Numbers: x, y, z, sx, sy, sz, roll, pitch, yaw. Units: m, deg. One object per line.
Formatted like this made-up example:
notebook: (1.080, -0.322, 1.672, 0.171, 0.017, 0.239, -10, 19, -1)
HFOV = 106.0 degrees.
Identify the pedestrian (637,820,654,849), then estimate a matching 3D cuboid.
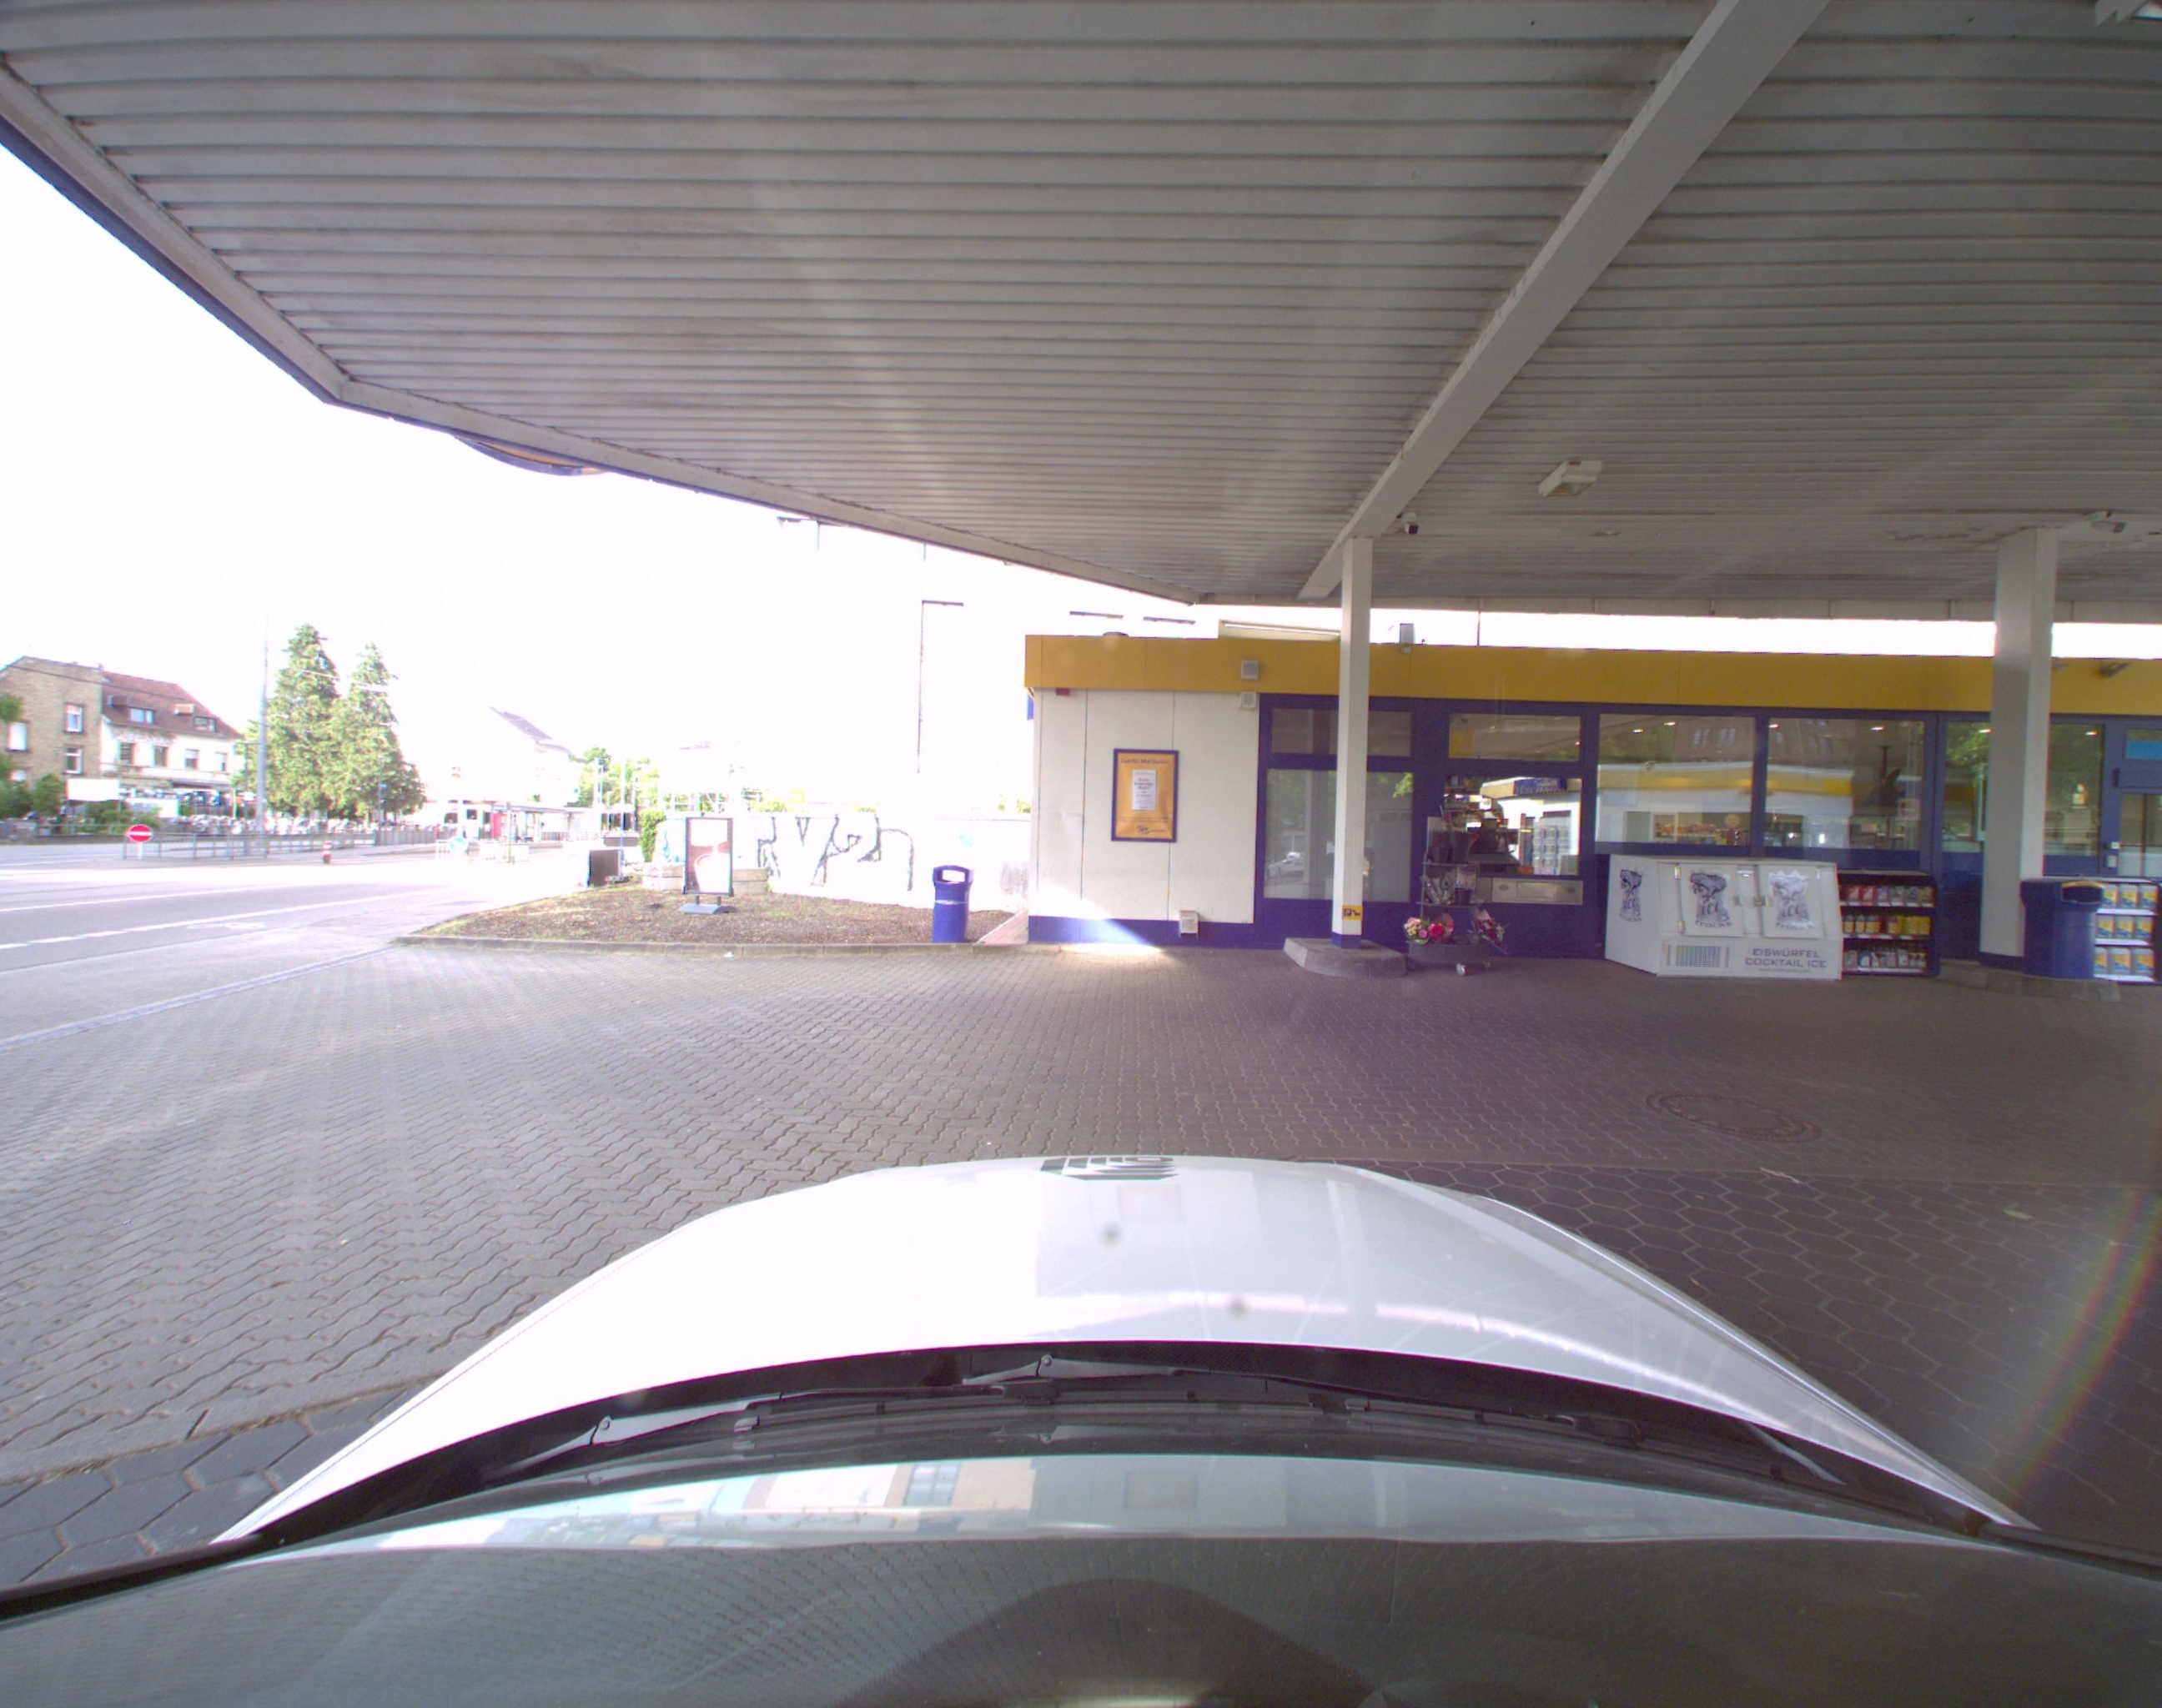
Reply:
pedestrian: (-30.492, -1.371, 57.022, 0.807, 2.014, 0.846, 0, -1, -14)
